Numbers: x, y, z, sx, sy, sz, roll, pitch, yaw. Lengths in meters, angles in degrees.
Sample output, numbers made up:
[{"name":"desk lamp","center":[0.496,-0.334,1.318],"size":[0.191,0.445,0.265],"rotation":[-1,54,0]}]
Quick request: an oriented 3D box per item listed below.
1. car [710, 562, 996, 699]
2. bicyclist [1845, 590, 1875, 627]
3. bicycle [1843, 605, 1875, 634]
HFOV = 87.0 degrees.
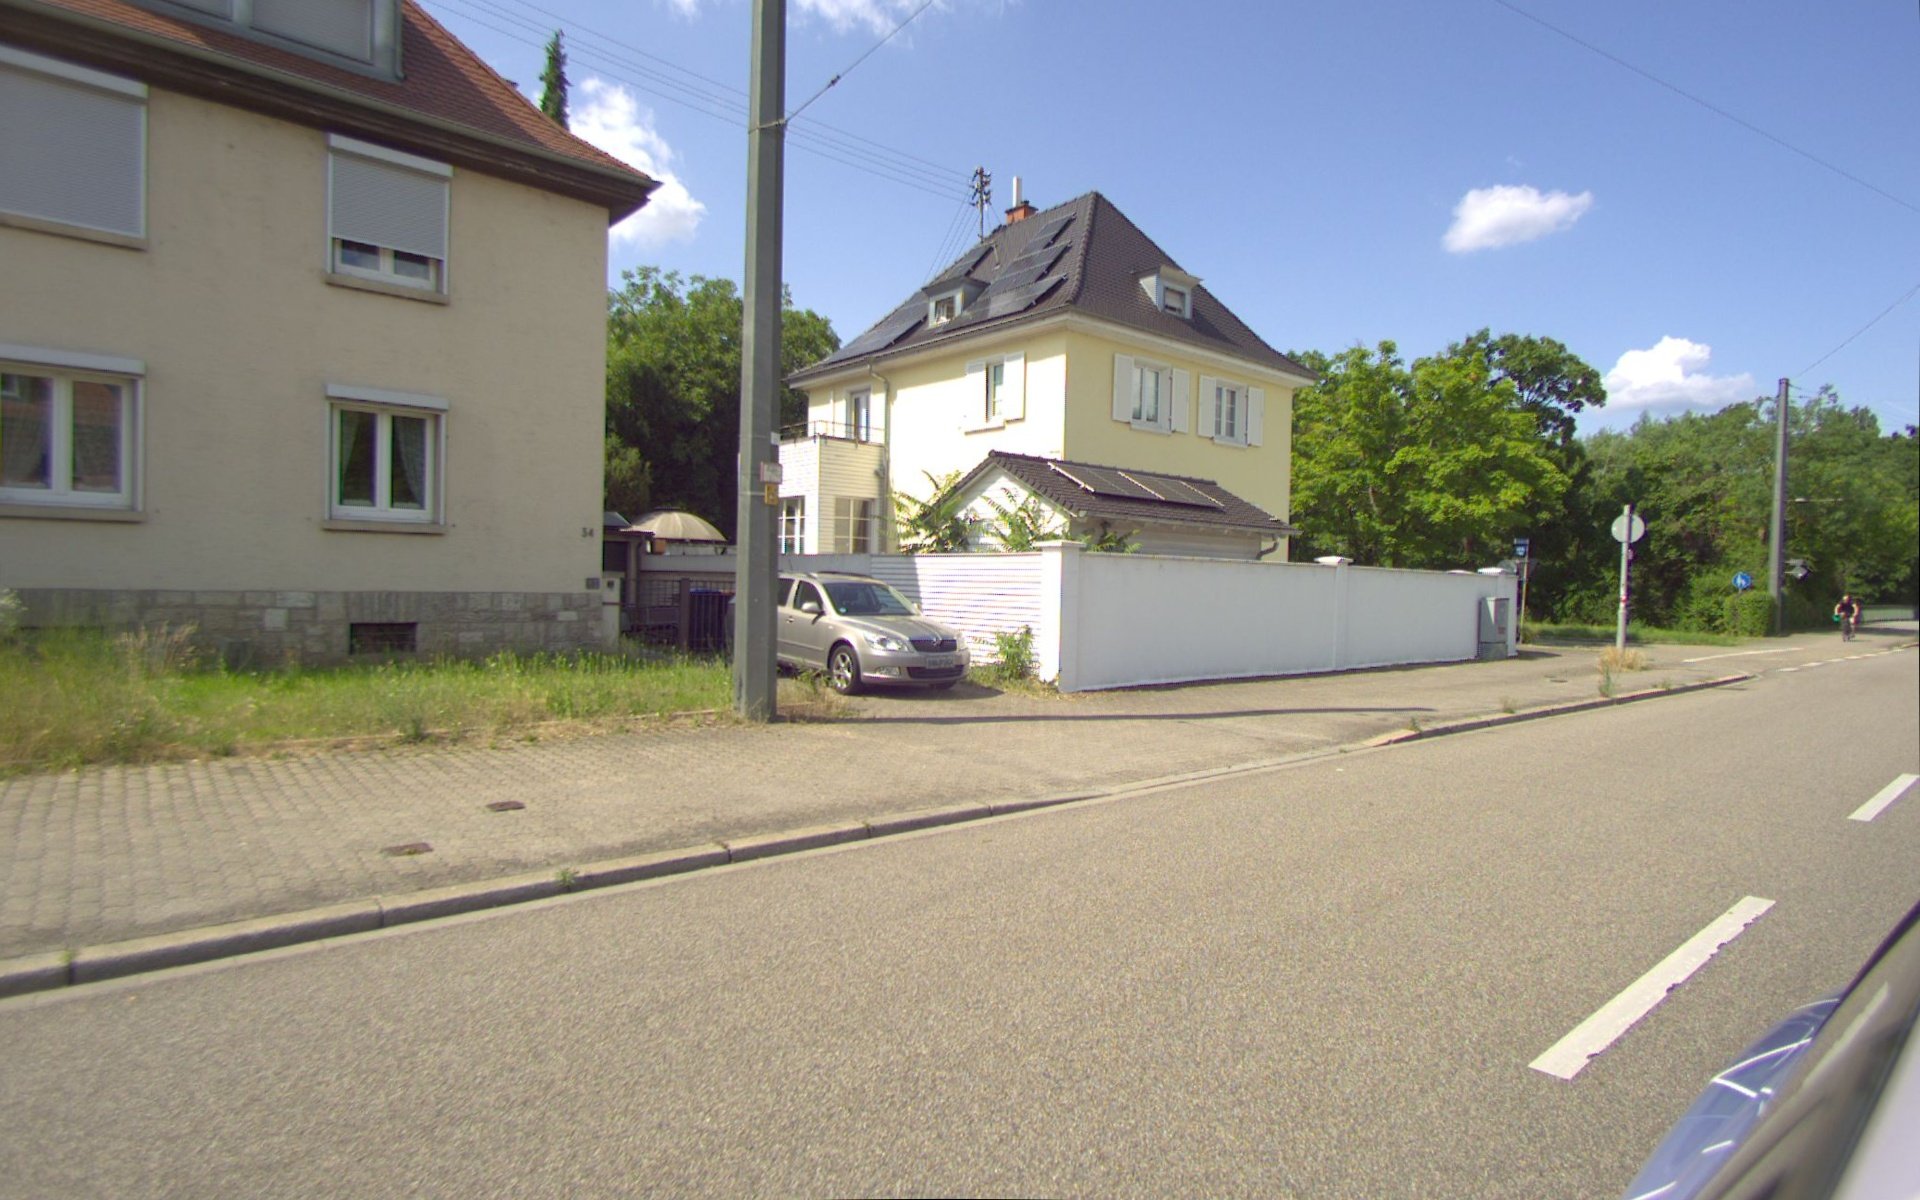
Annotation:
[{"name":"car","center":[-1.644,0.292,14.015],"size":[1.732,1.479,4.460],"rotation":[0,3,-40]},{"name":"bicyclist","center":[34.234,0.315,38.480],"size":[0.652,1.370,0.691],"rotation":[1,1,-34]},{"name":"bicycle","center":[34.177,0.733,38.484],"size":[1.494,1.079,0.557],"rotation":[0,1,-35]}]
